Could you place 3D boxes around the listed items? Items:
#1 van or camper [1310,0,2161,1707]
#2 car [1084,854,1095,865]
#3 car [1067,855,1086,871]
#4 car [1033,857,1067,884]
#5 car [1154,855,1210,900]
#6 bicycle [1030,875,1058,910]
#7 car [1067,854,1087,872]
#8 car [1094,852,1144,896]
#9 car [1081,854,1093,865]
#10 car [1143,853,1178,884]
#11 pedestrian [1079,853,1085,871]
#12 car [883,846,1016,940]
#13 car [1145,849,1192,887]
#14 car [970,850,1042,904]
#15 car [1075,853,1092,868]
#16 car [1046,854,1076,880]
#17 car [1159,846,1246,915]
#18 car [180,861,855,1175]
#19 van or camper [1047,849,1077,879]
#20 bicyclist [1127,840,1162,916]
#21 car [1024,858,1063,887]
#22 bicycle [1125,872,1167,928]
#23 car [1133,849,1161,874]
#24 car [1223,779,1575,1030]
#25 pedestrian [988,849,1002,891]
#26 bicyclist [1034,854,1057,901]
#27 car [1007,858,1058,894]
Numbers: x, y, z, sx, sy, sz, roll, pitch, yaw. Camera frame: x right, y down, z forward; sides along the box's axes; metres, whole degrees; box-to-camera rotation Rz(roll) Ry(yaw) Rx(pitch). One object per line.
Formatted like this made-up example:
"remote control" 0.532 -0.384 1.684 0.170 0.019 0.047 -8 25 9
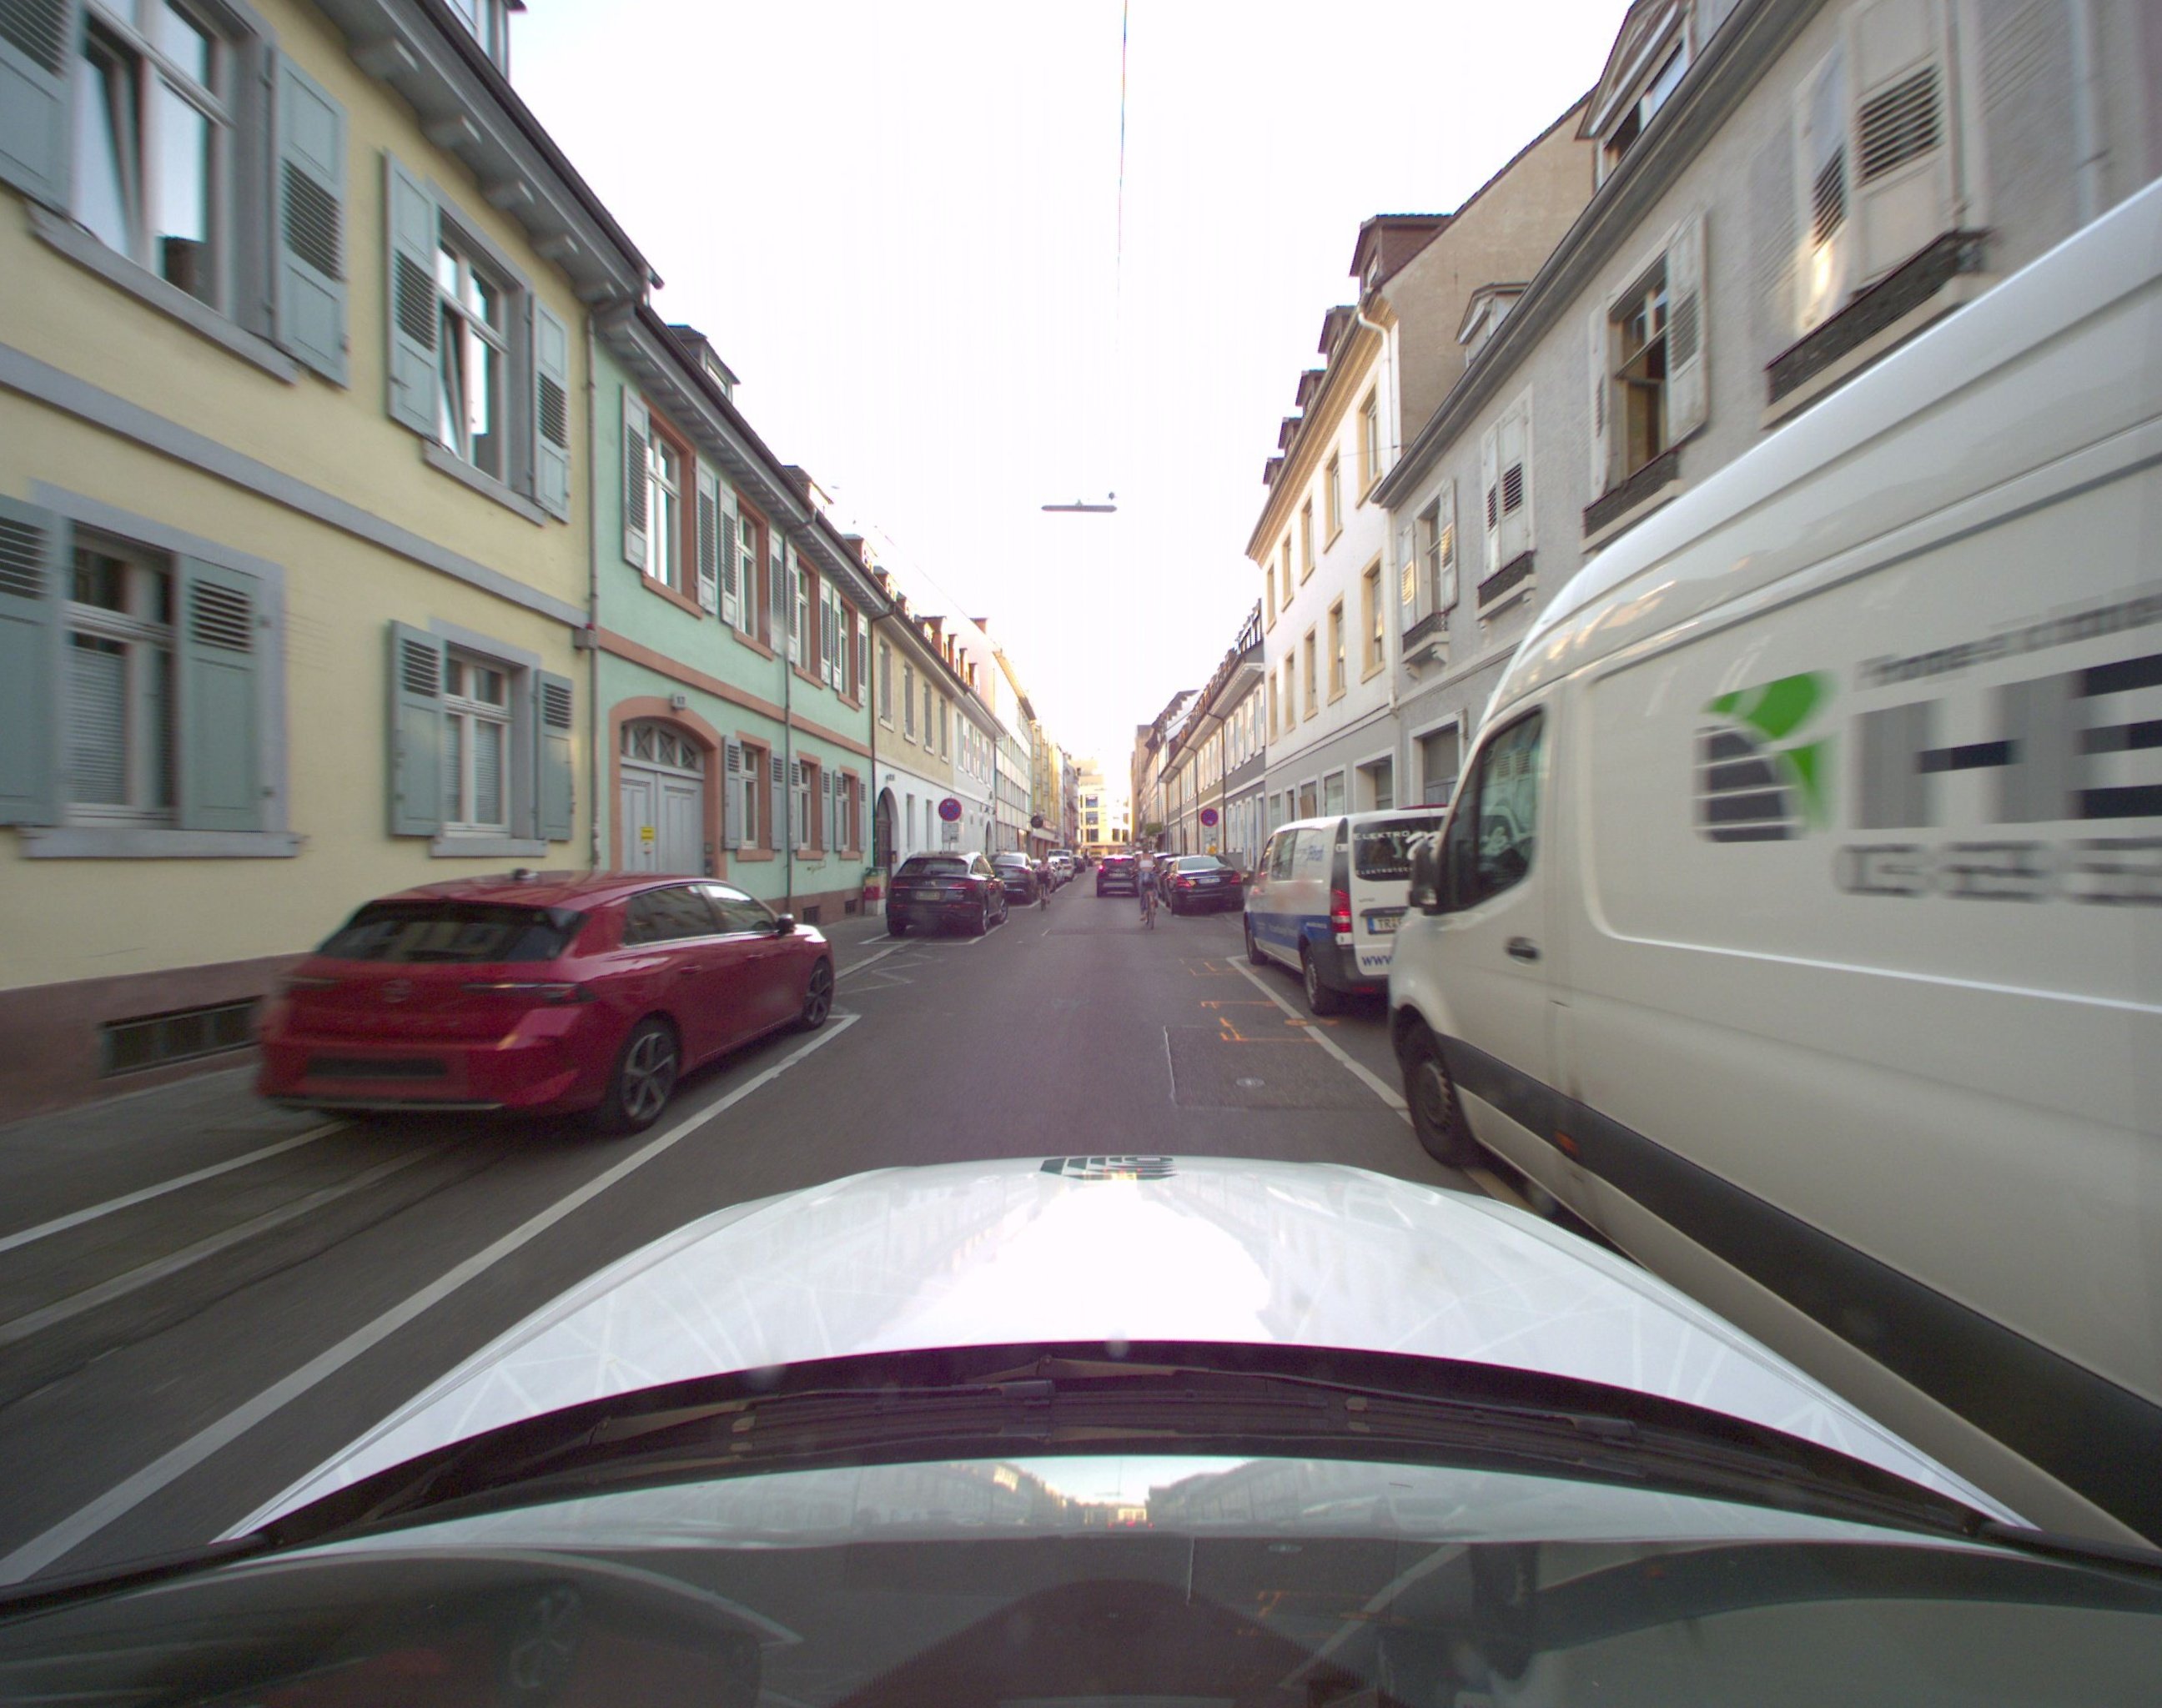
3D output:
"van or camper" 2.338 0.147 1.669 2.042 2.637 7.068 -1 0 3
"car" 1.369 0.829 125.849 1.647 1.561 3.607 0 0 2
"car" -0.449 0.836 79.020 1.647 1.561 3.607 0 0 2
"car" -1.717 0.909 46.214 1.647 1.411 3.607 0 0 2
"car" 3.553 0.776 29.160 1.670 1.486 4.002 0 0 2
"bicycle" -1.066 1.118 23.853 0.611 0.932 1.888 -1 0 3
"car" -0.336 0.800 73.709 1.647 1.561 3.607 0 0 2
"car" 1.458 0.748 32.124 1.813 1.618 4.001 0 0 1
"car" 0.881 0.813 119.085 1.647 1.561 3.607 0 0 2
"car" 4.251 0.748 44.006 1.647 1.561 3.607 0 0 2
"pedestrian" 0.132 0.749 77.400 0.552 1.752 0.568 -1 0 -1
"car" -2.586 0.713 17.100 1.795 1.676 4.493 -1 0 3
"car" 4.163 0.628 39.253 1.911 1.738 4.153 0 0 1
"car" -2.492 0.736 28.107 1.991 1.707 4.535 0 0 0
"car" 0.258 0.669 84.702 1.647 1.561 3.607 0 0 2
"car" -1.252 0.801 51.187 1.647 1.561 3.607 0 0 2
"car" 3.173 0.642 22.191 1.812 1.530 5.075 -5 0 3
"car" -3.194 0.777 5.872 1.758 1.401 4.265 -1 0 2
"van or camper" -1.287 0.680 56.882 1.837 2.013 4.680 0 0 2
"bicyclist" 1.339 0.497 17.204 0.620 1.574 0.682 -1 0 -5
"car" -1.839 0.897 41.123 1.647 1.411 3.904 0 0 2
"bicycle" 1.352 0.942 17.282 0.612 1.082 1.806 -1 0 -5
"car" 4.158 0.470 51.605 1.647 1.561 3.607 0 0 2
"car" 3.040 0.423 9.264 1.934 1.894 5.319 -4 0 2
"pedestrian" -4.171 0.753 39.409 0.608 2.014 0.450 -1 0 -1
"bicyclist" -1.049 0.680 23.981 0.603 1.369 0.622 -1 0 4
"car" -2.012 0.886 34.843 1.912 1.434 4.293 0 0 0
